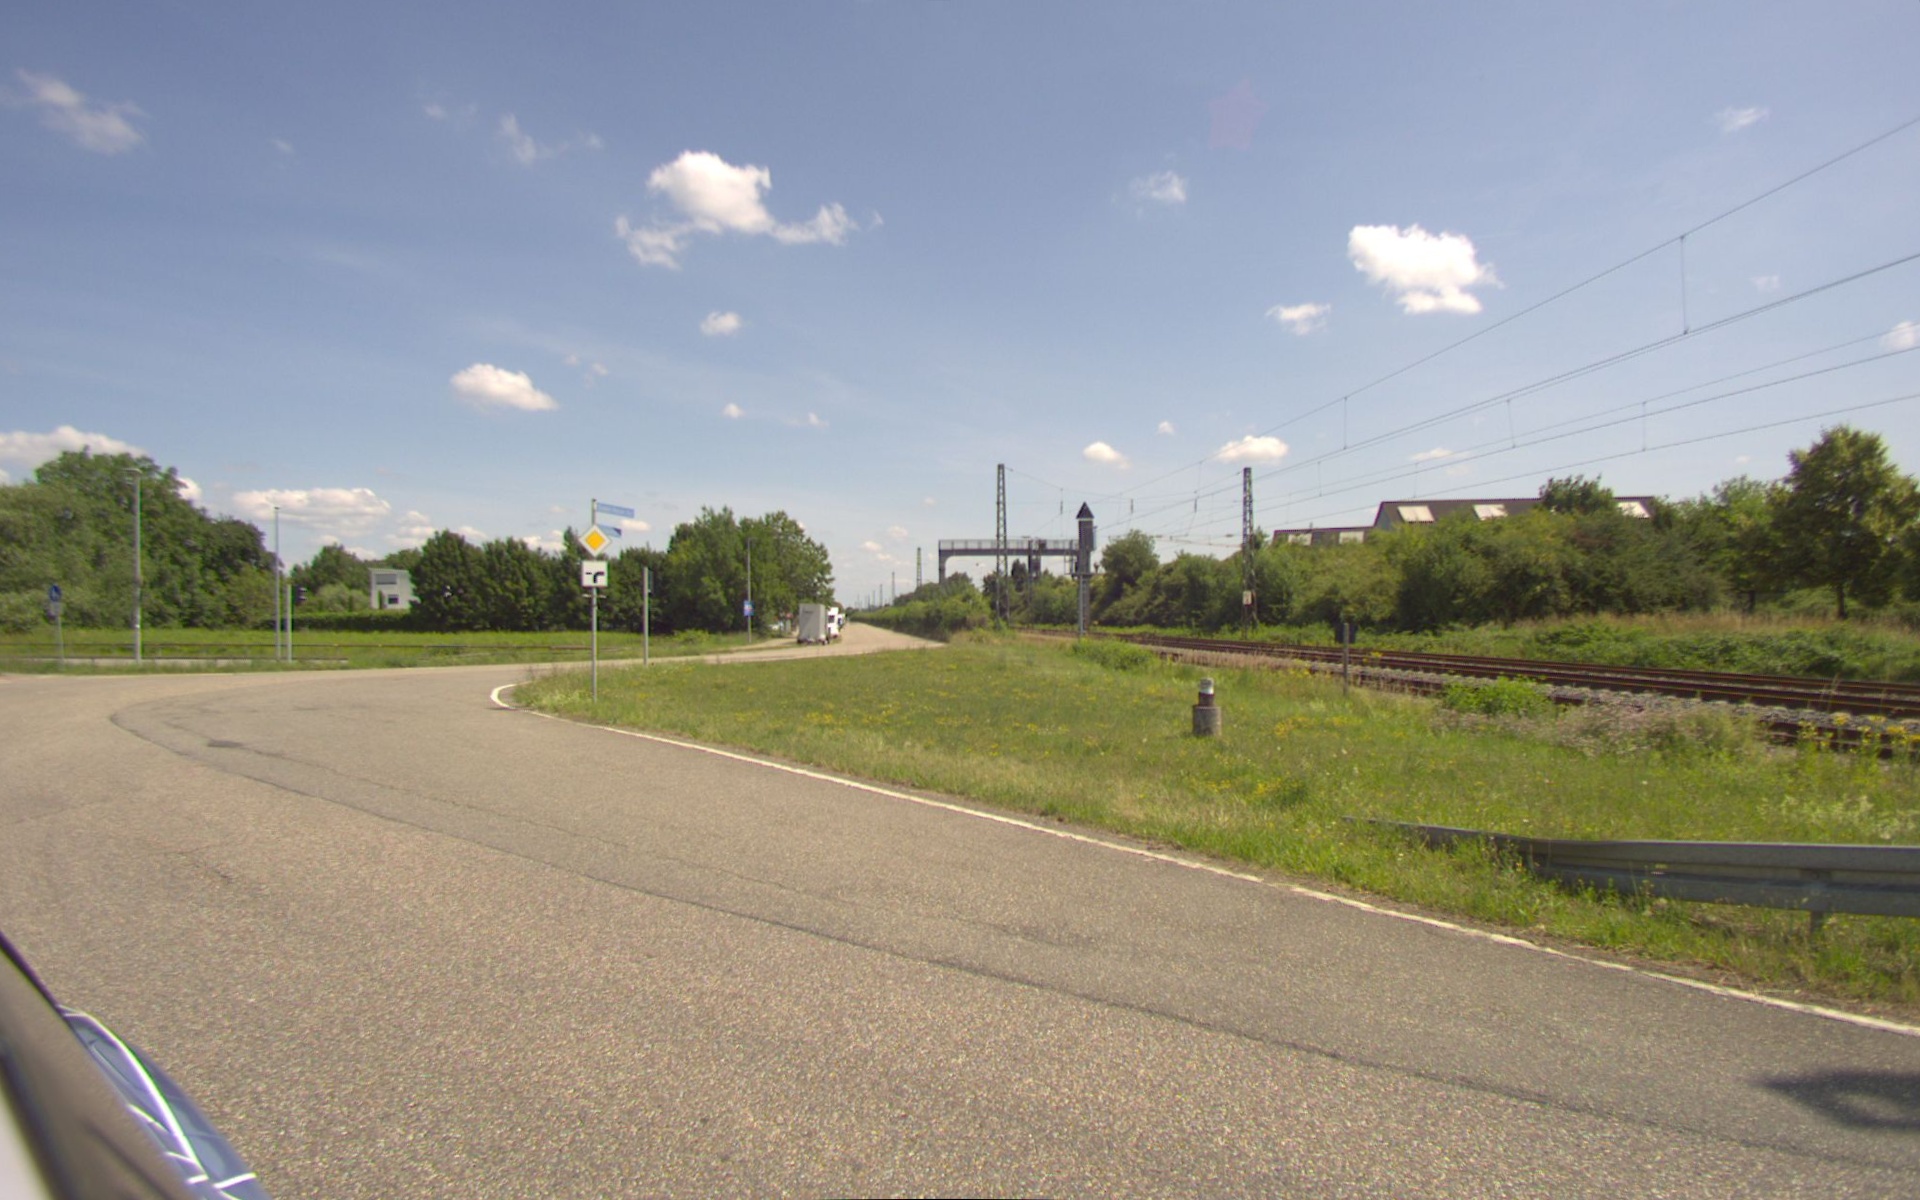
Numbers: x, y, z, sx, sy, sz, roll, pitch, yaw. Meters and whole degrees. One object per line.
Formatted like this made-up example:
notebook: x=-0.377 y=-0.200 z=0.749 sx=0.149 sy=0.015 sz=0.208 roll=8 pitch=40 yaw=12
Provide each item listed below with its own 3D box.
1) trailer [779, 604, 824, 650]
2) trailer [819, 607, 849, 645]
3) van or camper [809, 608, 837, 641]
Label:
trailer: x=-9.683 y=1.650 z=62.085 sx=1.912 sy=2.664 sz=5.183 roll=2 pitch=-2 yaw=0
trailer: x=-8.761 y=1.831 z=70.903 sx=1.895 sy=2.527 sz=4.747 roll=2 pitch=-2 yaw=-6
van or camper: x=-12.634 y=2.288 z=93.718 sx=2.409 sy=2.848 sz=7.633 roll=1 pitch=-1 yaw=-6
